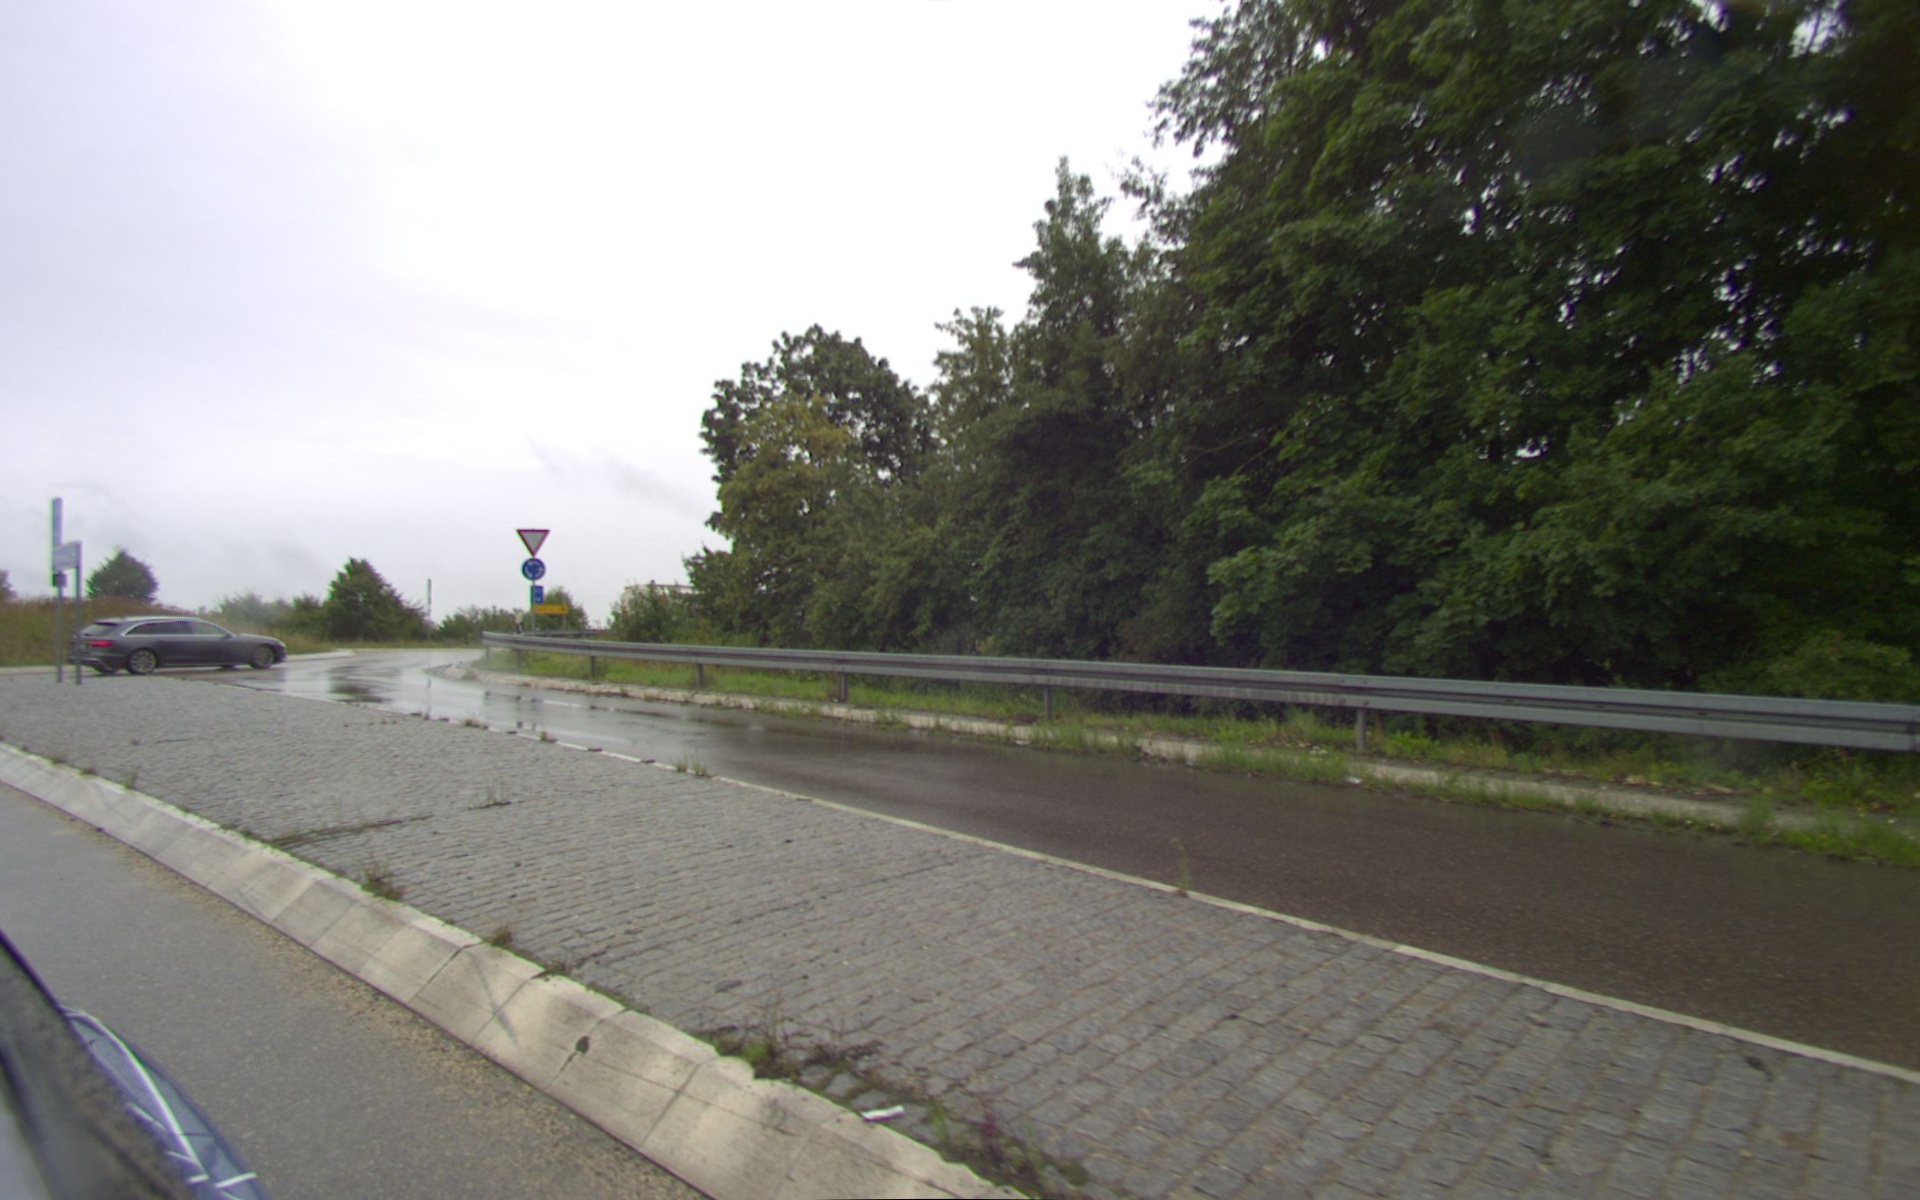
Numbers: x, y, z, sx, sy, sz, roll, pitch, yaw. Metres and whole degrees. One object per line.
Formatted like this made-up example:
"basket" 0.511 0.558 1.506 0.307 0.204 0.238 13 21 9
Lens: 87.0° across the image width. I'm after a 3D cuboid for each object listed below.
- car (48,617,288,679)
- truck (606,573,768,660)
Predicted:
"car" -20.256 1.158 26.105 1.902 1.379 4.521 0 0 28
"truck" -13.487 0.950 50.947 3.030 3.881 8.750 -4 -3 24
